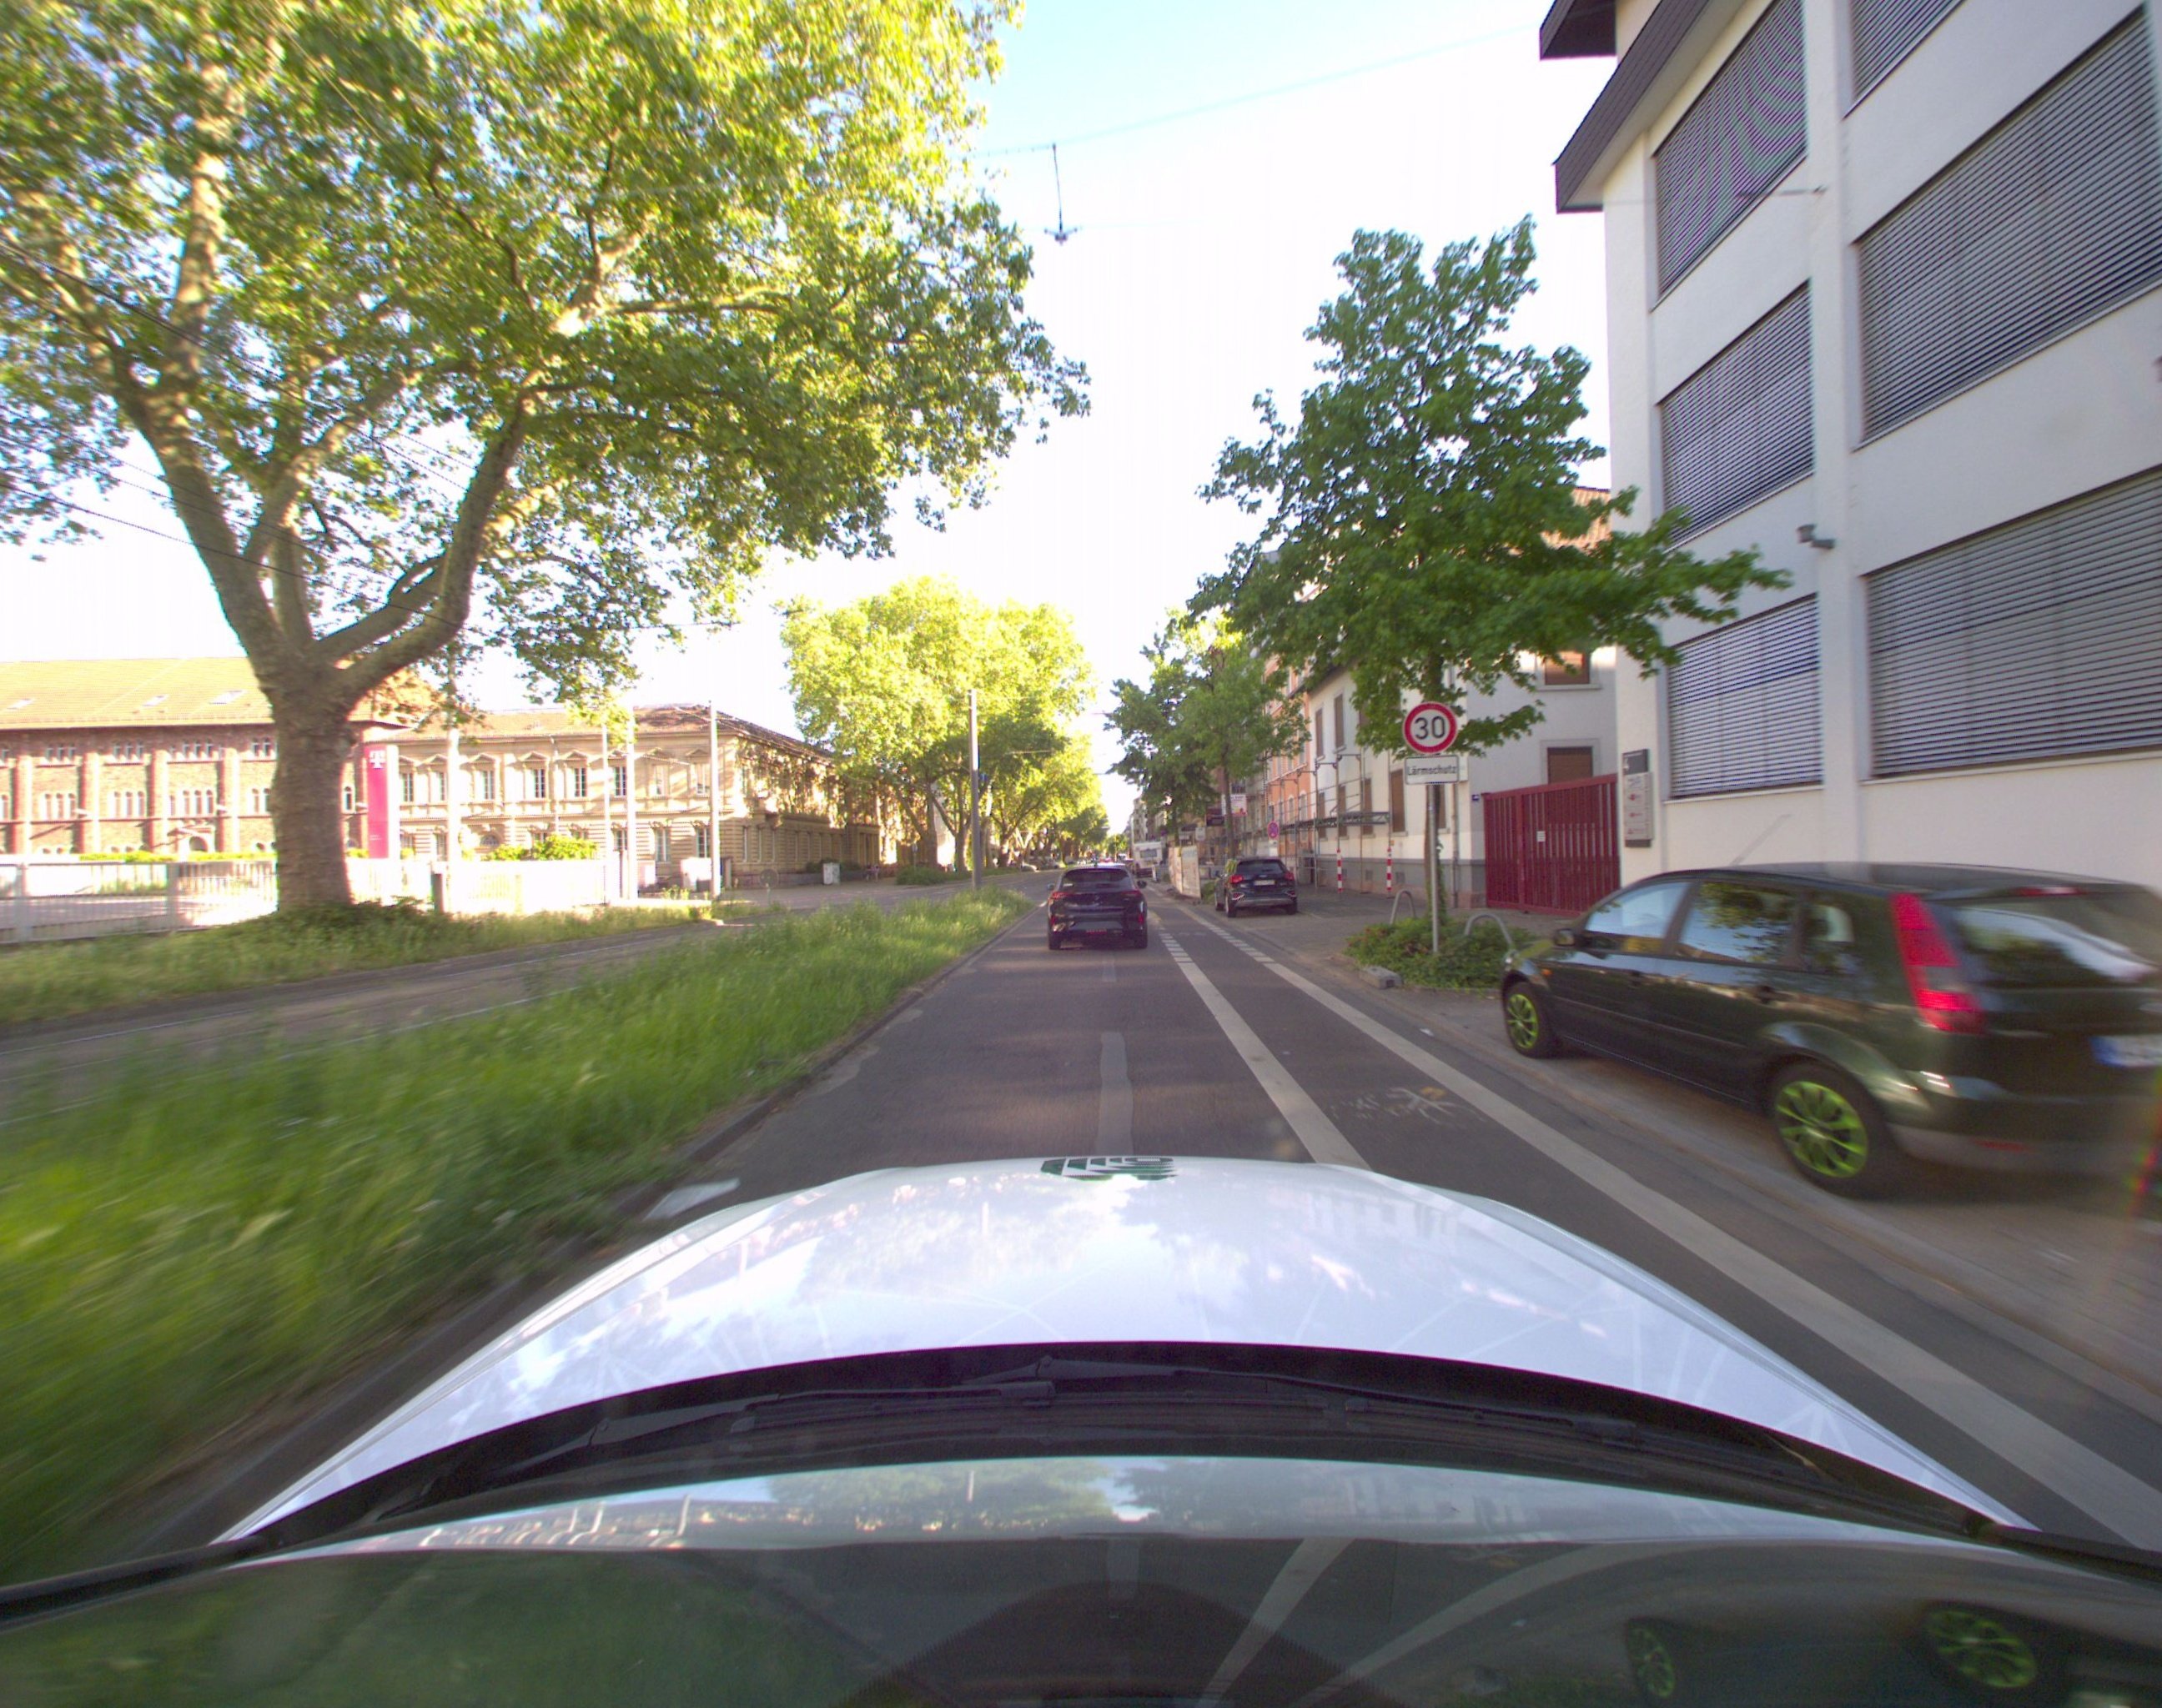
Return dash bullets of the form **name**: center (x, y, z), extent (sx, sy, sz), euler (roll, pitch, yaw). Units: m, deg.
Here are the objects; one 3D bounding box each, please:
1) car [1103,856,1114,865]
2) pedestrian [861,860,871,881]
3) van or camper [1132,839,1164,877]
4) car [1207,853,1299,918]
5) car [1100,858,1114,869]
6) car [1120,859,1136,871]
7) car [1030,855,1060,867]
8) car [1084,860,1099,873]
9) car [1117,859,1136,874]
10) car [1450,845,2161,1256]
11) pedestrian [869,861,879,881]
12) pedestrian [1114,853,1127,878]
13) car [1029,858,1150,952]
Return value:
- **car**: center (4.745, 1.144, 140.402), extent (1.897, 1.425, 4.219), euler (-1, 0, 3)
- **pedestrian**: center (-17.725, 1.377, 67.126), extent (0.616, 1.733, 0.596), euler (1, 0, 1)
- **van or camper**: center (5.567, 0.331, 68.228), extent (2.476, 2.993, 5.439), euler (1, 0, 3)
- **car**: center (4.529, 0.766, 21.968), extent (1.783, 1.510, 3.876), euler (-3, 0, 3)
- **car**: center (3.827, 1.366, 119.829), extent (1.897, 1.425, 4.219), euler (-1, 0, 3)
- **car**: center (5.878, 1.333, 102.287), extent (1.897, 1.425, 4.219), euler (-1, 0, 3)
- **car**: center (-7.279, 1.381, 164.710), extent (5.665, 2.198, 2.290), euler (-1, 0, 2)
- **car**: center (1.417, 1.563, 105.839), extent (1.783, 1.510, 3.876), euler (-3, 0, 3)
- **car**: center (4.620, 1.289, 82.737), extent (1.897, 1.425, 4.219), euler (-1, 0, 3)
- **car**: center (4.010, 0.700, 4.949), extent (1.680, 1.420, 4.048), euler (-2, 0, 0)
- **pedestrian**: center (-17.072, 1.397, 67.200), extent (0.656, 1.622, 0.616), euler (1, 0, 1)
- **pedestrian**: center (3.231, 0.938, 66.945), extent (1.032, 2.024, 1.213), euler (-1, 0, 1)
- **car**: center (0.262, 0.819, 15.029), extent (1.897, 1.425, 4.219), euler (-1, 0, 3)
